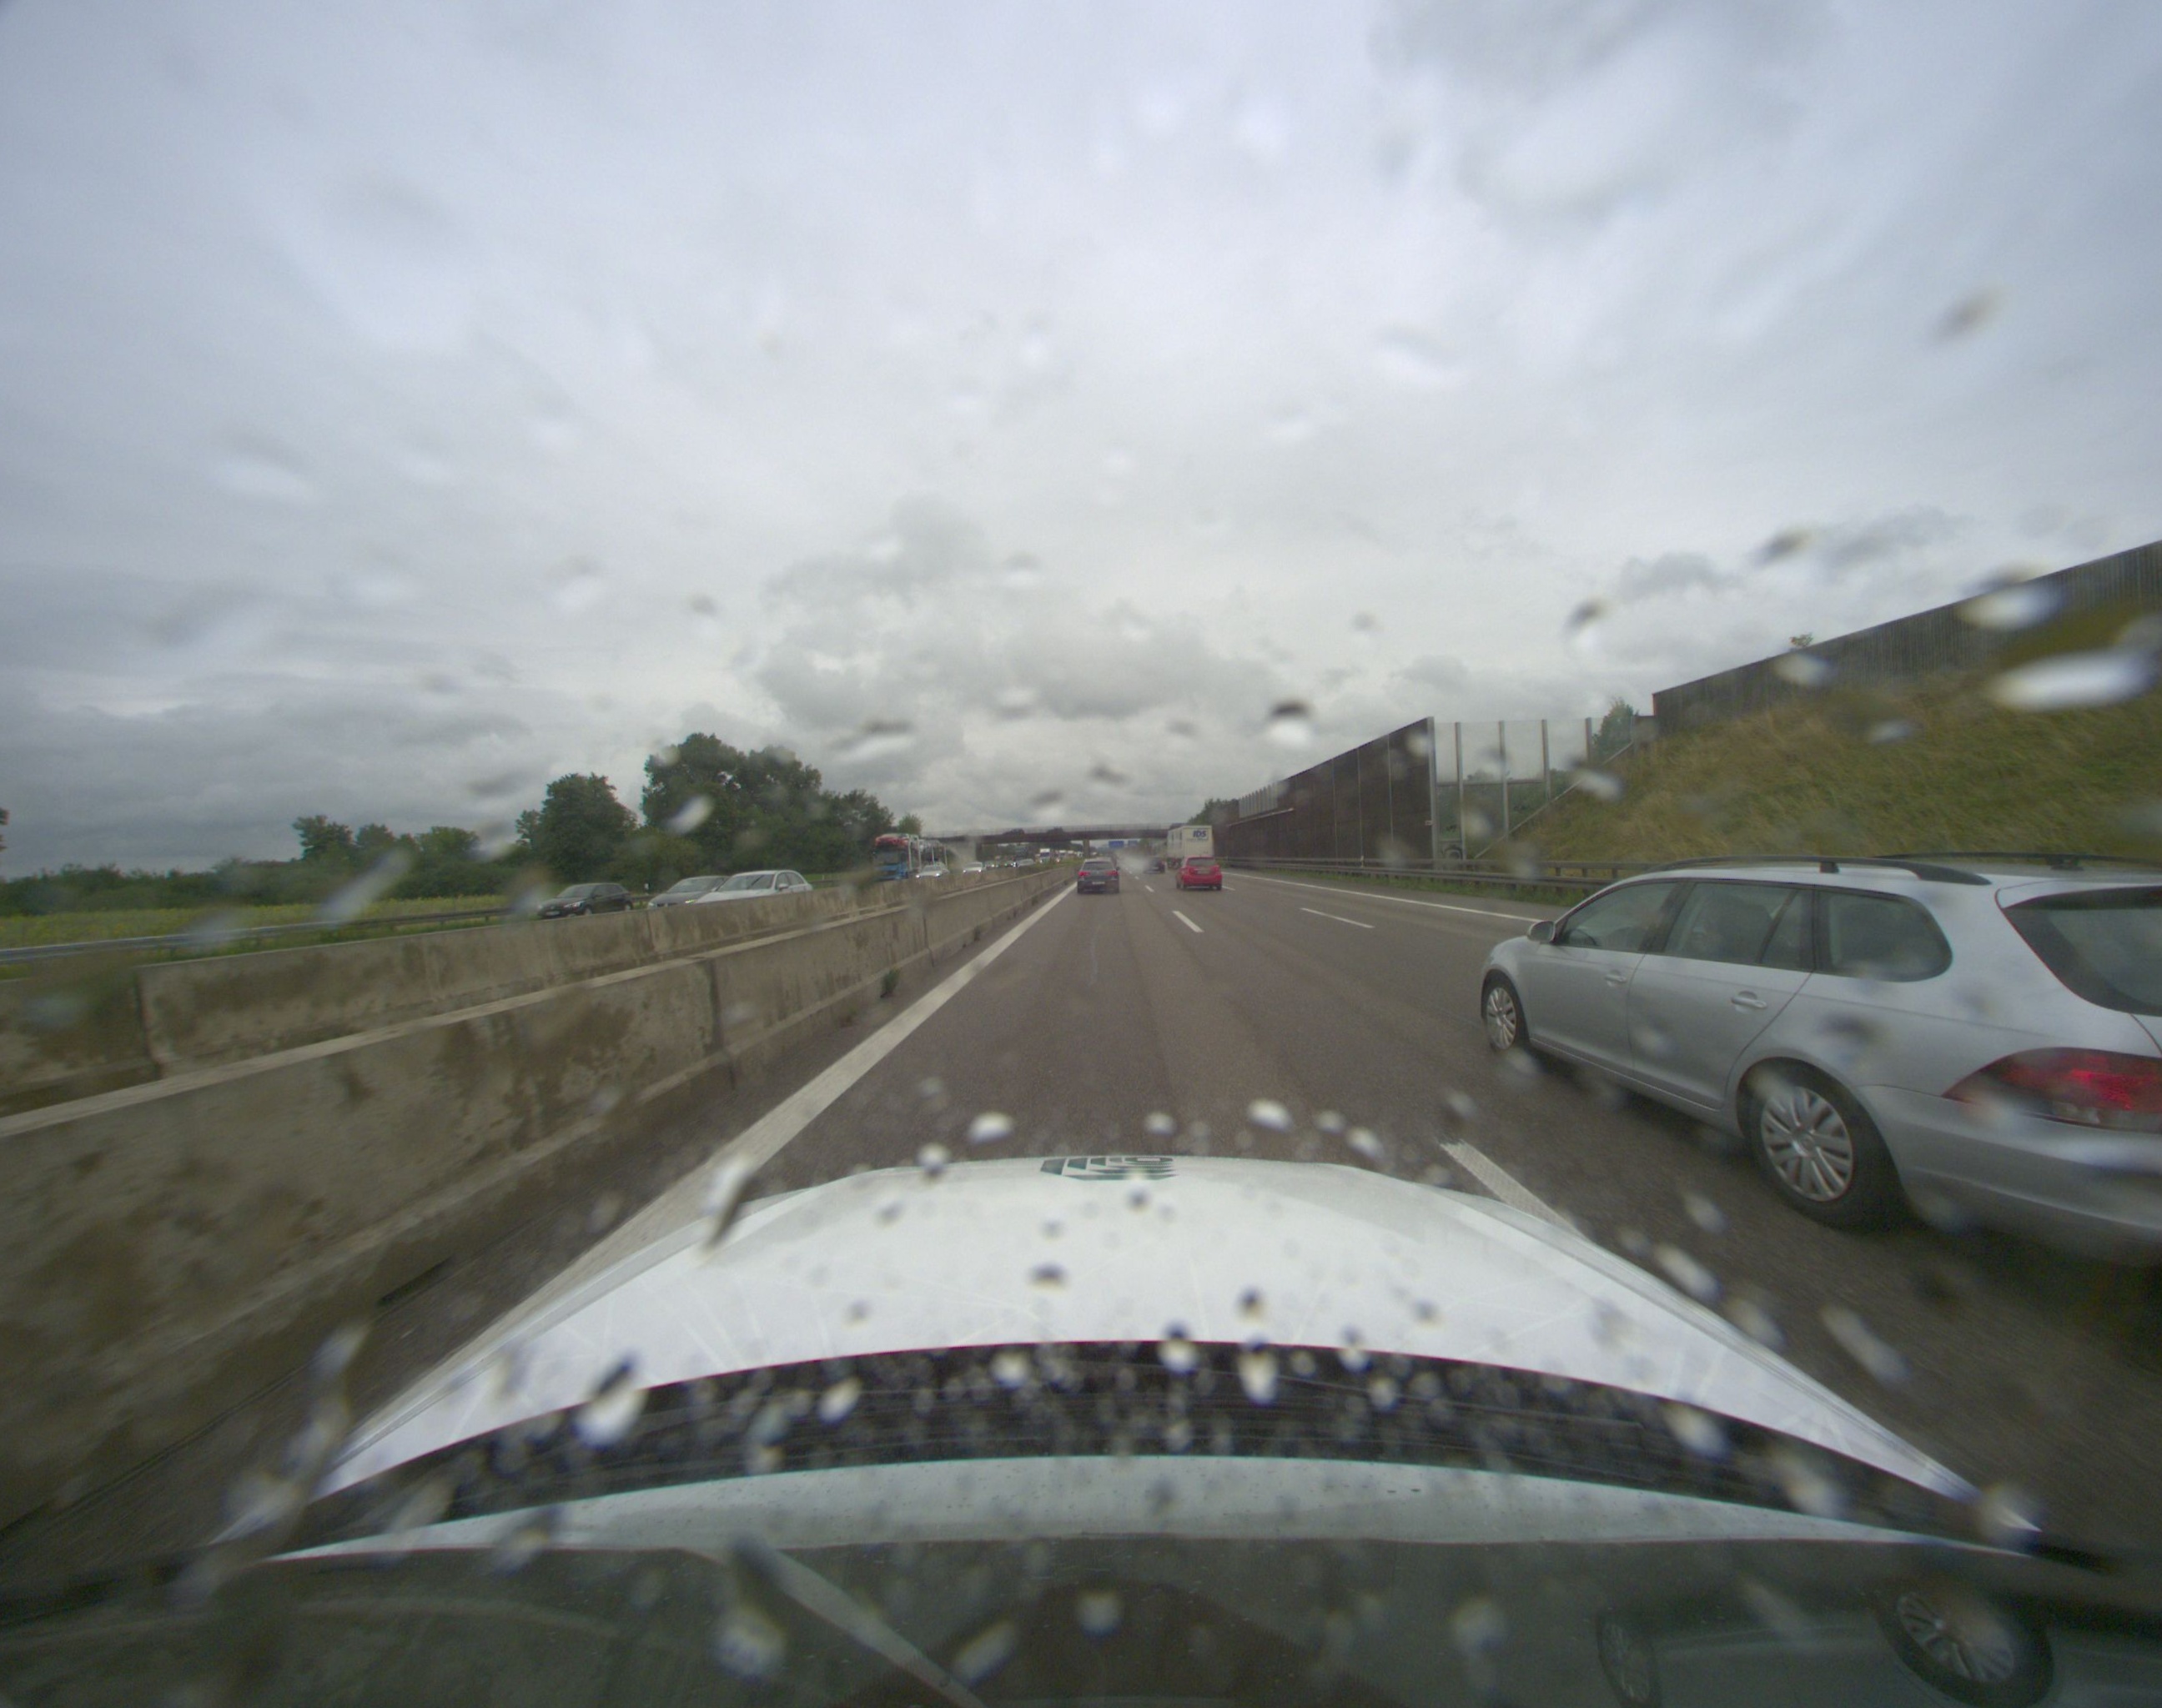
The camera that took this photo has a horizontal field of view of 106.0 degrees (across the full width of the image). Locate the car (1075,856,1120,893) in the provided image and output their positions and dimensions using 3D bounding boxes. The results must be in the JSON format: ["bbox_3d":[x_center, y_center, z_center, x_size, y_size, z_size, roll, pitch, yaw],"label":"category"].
[{"bbox_3d":[0.709,0.828,34.360,1.762,1.467,4.001,0,-1,1],"label":"car"}]

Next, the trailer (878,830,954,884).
[{"bbox_3d":[-14.473,0.318,73.169,2.987,4.242,15.716,0,-1,2],"label":"trailer"}]

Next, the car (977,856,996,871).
[{"bbox_3d":[-13.518,1.313,116.625,1.986,2.013,4.002,-3,0,2],"label":"car"}]

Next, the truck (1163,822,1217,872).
[{"bbox_3d":[10.295,-0.481,79.304,3.271,4.295,19.039,0,-1,2],"label":"truck"}]

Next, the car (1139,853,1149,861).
[{"bbox_3d":[13.031,0.597,169.263,1.839,1.687,4.001,0,-1,1],"label":"car"}]

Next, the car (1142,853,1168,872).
[{"bbox_3d":[6.249,0.721,68.956,1.914,1.522,4.624,-1,0,2],"label":"car"}]

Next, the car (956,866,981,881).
[{"bbox_3d":[-13.821,2.420,100.648,2.085,1.710,4.965,-1,0,3],"label":"car"}]

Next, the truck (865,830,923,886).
[{"bbox_3d":[-14.778,0.360,64.846,2.946,4.242,6.237,0,-1,2],"label":"truck"}]

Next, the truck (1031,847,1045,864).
[{"bbox_3d":[-10.973,0.399,208.258,3.260,4.045,5.295,0,-1,2],"label":"truck"}]

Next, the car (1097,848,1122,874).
[{"bbox_3d":[2.197,0.496,62.652,1.819,1.850,4.002,-2,0,2],"label":"car"}]

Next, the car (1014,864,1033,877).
[{"bbox_3d":[-8.204,2.314,116.868,2.085,1.710,4.804,-1,0,3],"label":"car"}]

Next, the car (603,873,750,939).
[{"bbox_3d":[-12.448,1.544,25.493,2.054,1.710,4.802,-1,0,2],"label":"car"}]

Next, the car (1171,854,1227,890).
[{"bbox_3d":[5.147,0.729,36.051,1.884,1.446,4.685,-1,0,1],"label":"car"}]

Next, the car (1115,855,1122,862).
[{"bbox_3d":[11.396,1.324,248.341,1.986,2.014,4.243,0,-1,2],"label":"car"}]

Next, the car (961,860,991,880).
[{"bbox_3d":[-10.003,1.528,78.043,1.986,1.879,5.034,0,-1,2],"label":"car"}]

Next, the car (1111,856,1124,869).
[{"bbox_3d":[5.386,1.256,121.791,1.699,1.796,3.855,-3,0,0],"label":"car"}]

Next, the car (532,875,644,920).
[{"bbox_3d":[-19.013,1.635,31.636,1.878,1.595,4.000,0,-1,0],"label":"car"}]

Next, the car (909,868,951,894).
[{"bbox_3d":[-11.173,1.954,60.607,2.086,1.710,5.166,-1,0,1],"label":"car"}]

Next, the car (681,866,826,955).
[{"bbox_3d":[-8.262,1.350,21.003,1.876,1.924,4.175,-2,0,2],"label":"car"}]

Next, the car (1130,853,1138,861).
[{"bbox_3d":[14.536,0.815,224.037,1.986,1.812,4.230,-3,0,2],"label":"car"}]

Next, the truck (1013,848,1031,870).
[{"bbox_3d":[-10.970,0.917,151.667,2.747,4.050,6.258,0,-1,2],"label":"truck"}]

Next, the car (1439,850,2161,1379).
[{"bbox_3d":[3.801,0.726,4.516,1.735,1.425,4.518,-2,0,2],"label":"car"}]
